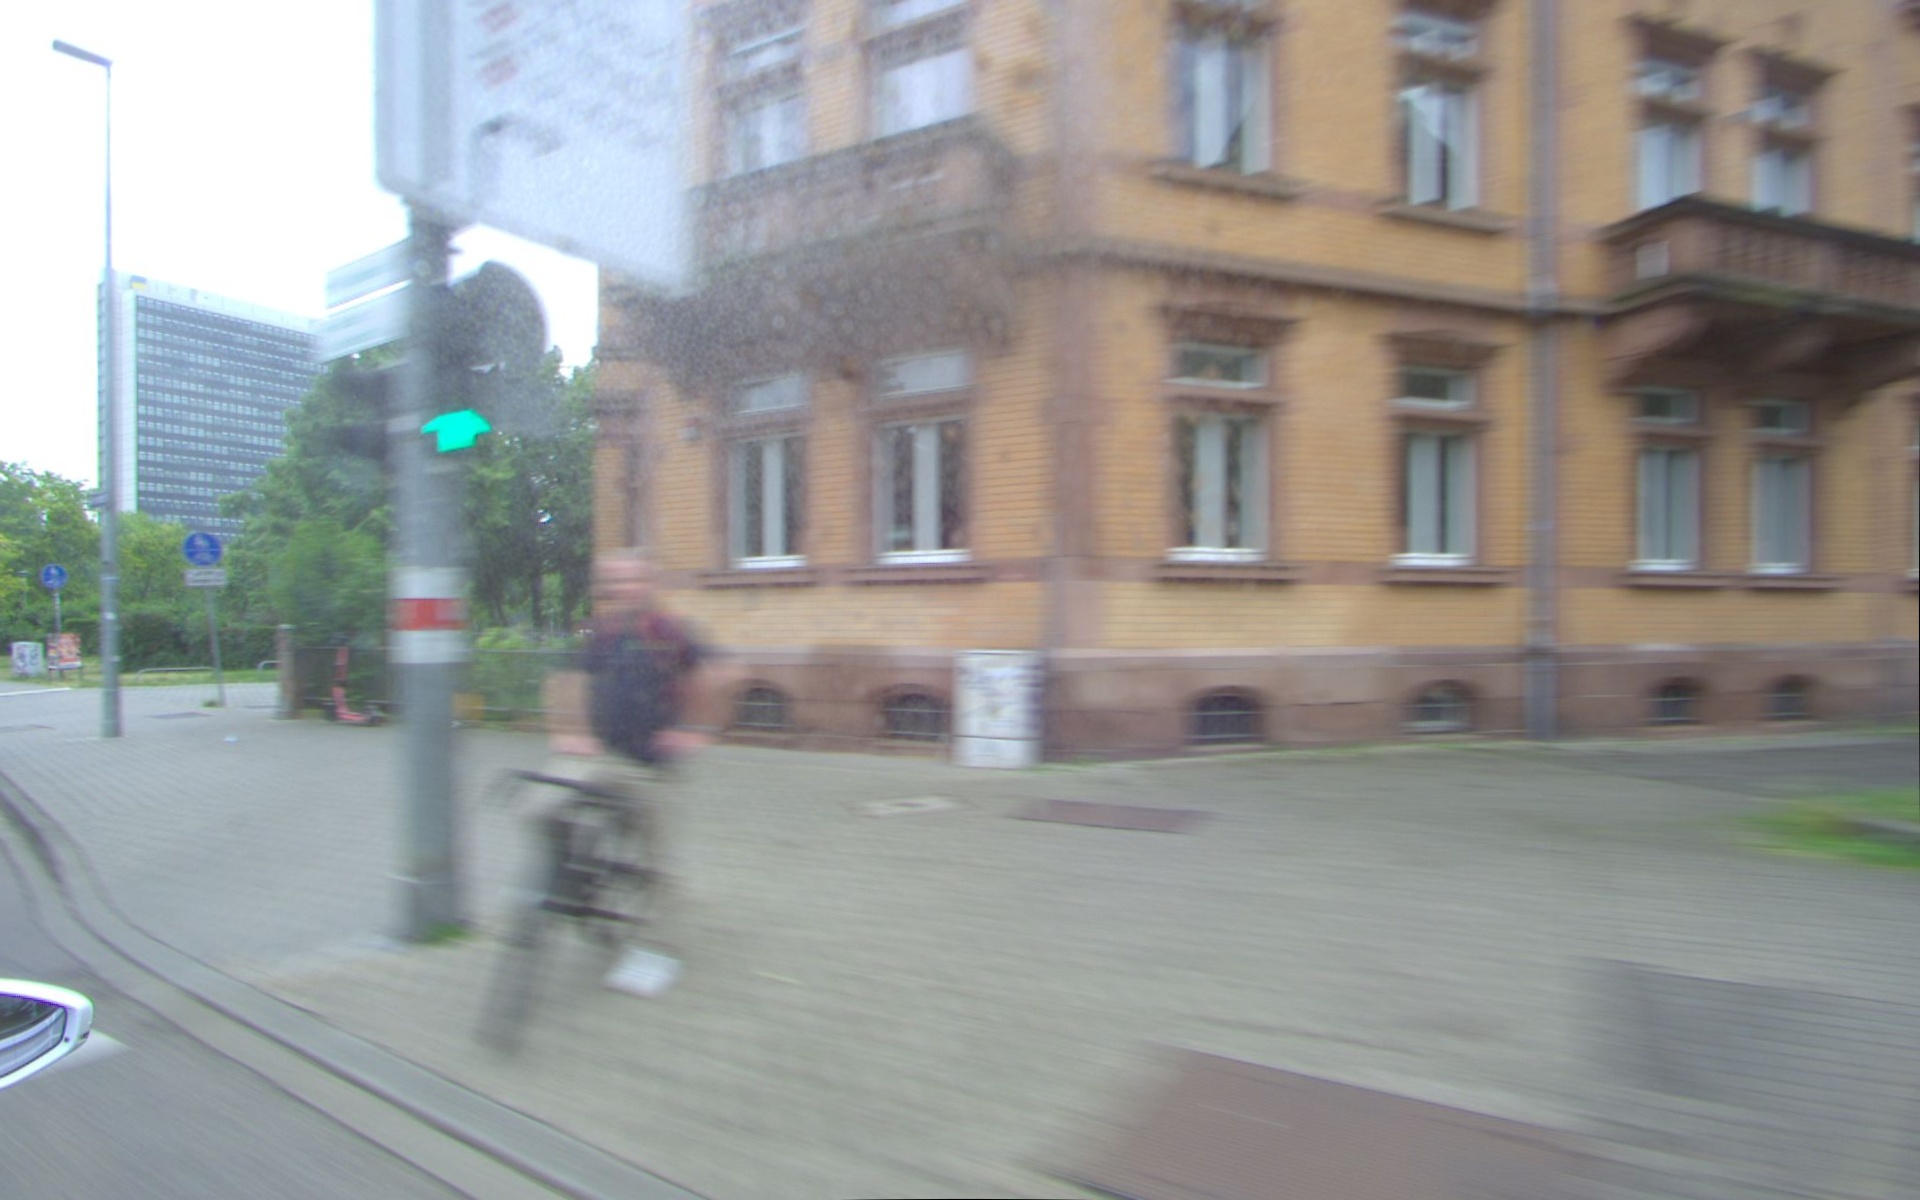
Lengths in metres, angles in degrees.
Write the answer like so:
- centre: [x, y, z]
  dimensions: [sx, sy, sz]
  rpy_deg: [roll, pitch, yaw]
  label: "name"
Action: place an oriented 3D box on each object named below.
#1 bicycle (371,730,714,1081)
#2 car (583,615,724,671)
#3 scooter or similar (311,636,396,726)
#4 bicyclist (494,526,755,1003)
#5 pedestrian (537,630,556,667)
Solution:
- centre: [-1.573, 1.103, 4.173]
  dimensions: [0.781, 0.936, 1.868]
  rpy_deg: [1, -2, -5]
  label: "bicycle"
- centre: [-8.549, 1.187, 28.114]
  dimensions: [3.418, 1.471, 1.692]
  rpy_deg: [-1, -1, 0]
  label: "car"
- centre: [-8.135, 1.066, 13.422]
  dimensions: [1.180, 1.156, 0.376]
  rpy_deg: [0, 0, 24]
  label: "scooter or similar"
- centre: [-1.356, 0.640, 4.197]
  dimensions: [0.874, 1.818, 0.682]
  rpy_deg: [1, -1, -5]
  label: "bicyclist"
- centre: [-15.295, 1.790, 37.051]
  dimensions: [0.581, 1.375, 0.626]
  rpy_deg: [0, 0, -15]
  label: "pedestrian"
